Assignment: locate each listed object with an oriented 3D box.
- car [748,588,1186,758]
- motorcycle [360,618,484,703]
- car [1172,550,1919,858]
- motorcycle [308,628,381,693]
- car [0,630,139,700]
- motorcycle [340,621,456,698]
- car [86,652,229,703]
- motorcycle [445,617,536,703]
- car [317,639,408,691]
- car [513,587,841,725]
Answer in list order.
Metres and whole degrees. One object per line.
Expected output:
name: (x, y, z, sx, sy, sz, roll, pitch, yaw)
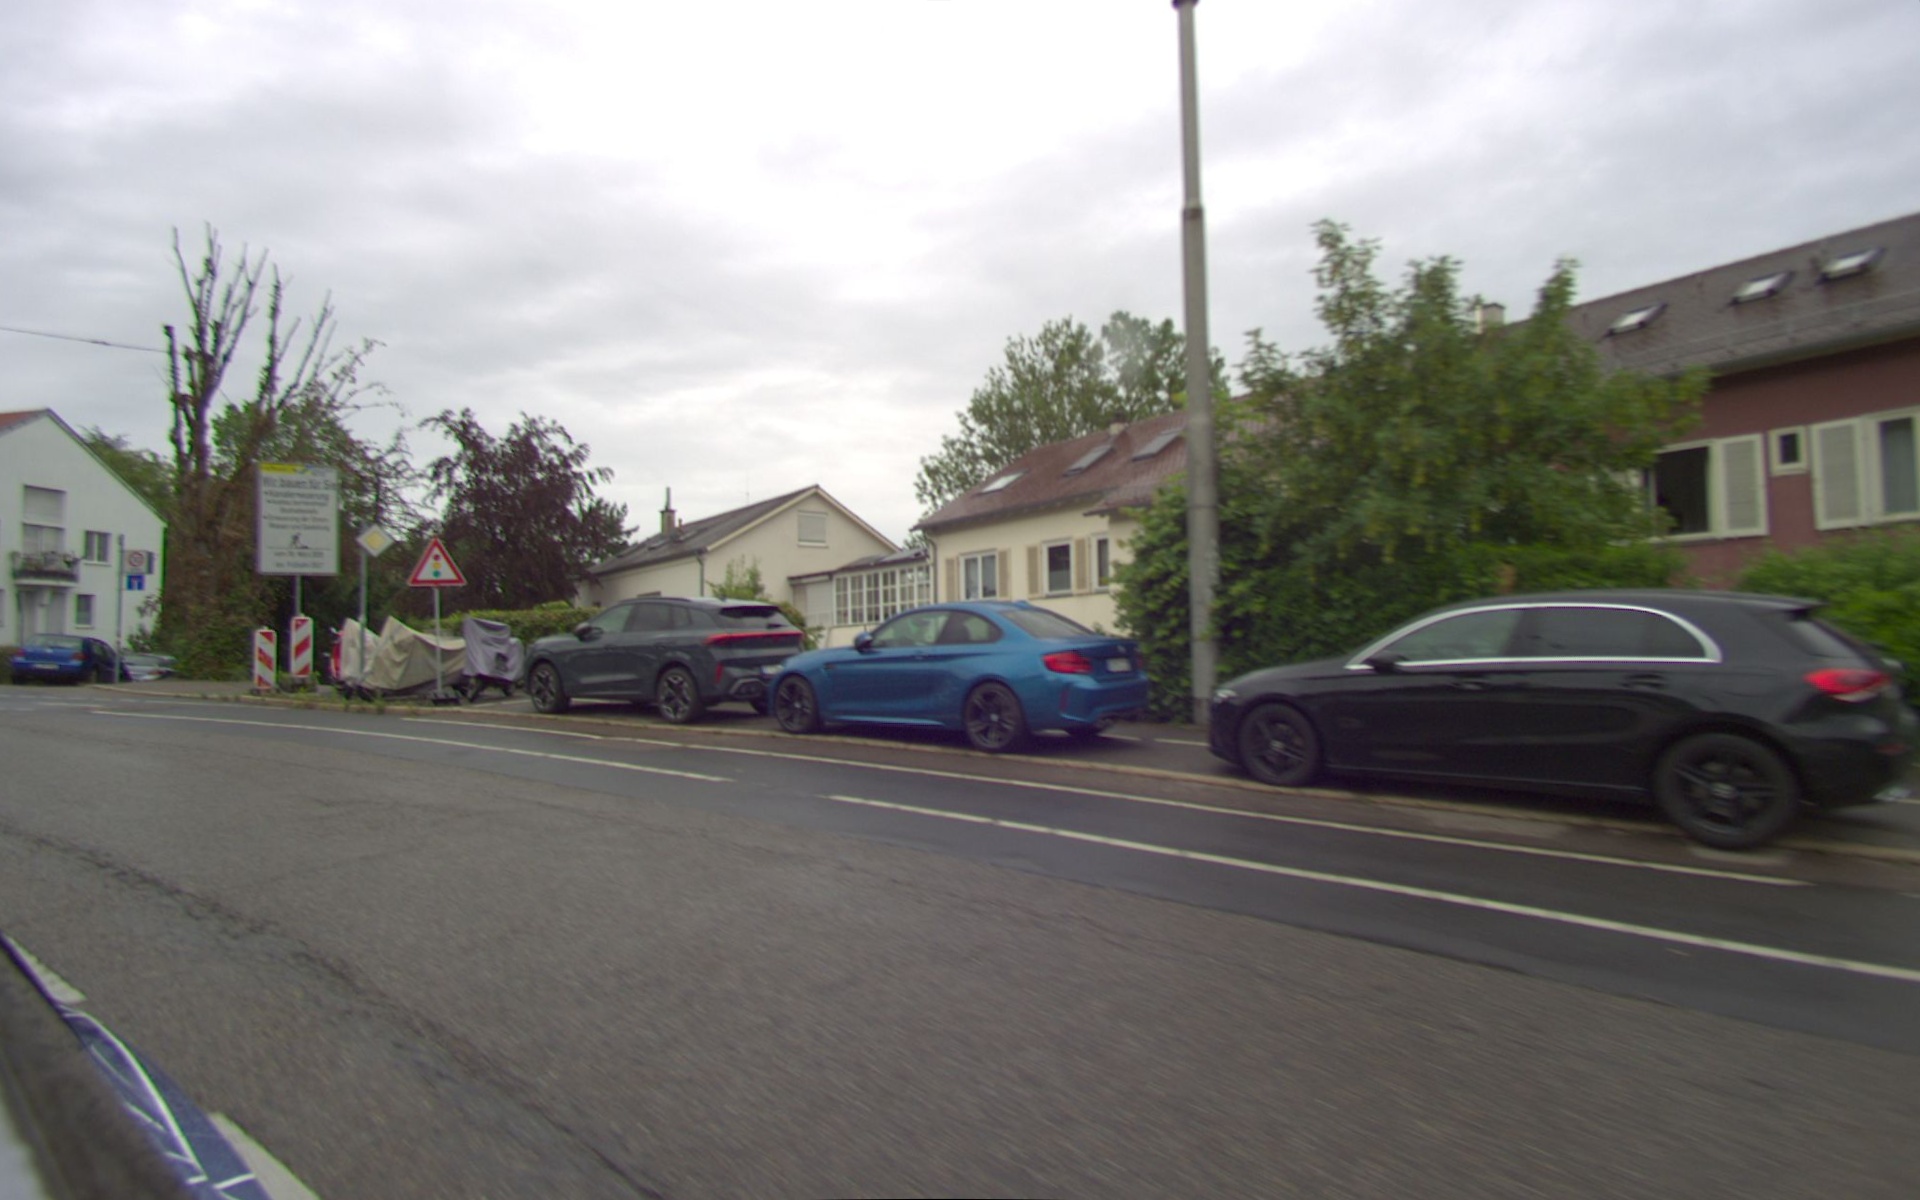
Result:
car: (-0.084, 0.667, 10.575, 4.466, 1.415, 1.683, -2, -1, 38)
motorcycle: (-8.973, 0.976, 16.898, 1.776, 1.313, 0.615, -1, 0, -30)
car: (3.891, 0.530, 7.063, 1.786, 1.488, 4.527, -1, -1, -42)
motorcycle: (-11.396, 1.117, 18.717, 1.920, 1.148, 0.504, -2, -5, 39)
car: (-24.342, 1.730, 27.806, 1.810, 1.678, 3.955, 4, -2, -26)
motorcycle: (-9.914, 1.020, 17.906, 0.509, 1.289, 1.788, -2, -1, 31)
car: (-26.334, 2.524, 33.409, 1.813, 1.505, 4.088, 2, -3, -8)
motorcycle: (-7.595, 0.934, 16.458, 0.567, 1.281, 1.906, -1, 0, 0)
car: (-16.837, 1.804, 28.463, 1.530, 1.337, 3.568, 5, -5, -41)
car: (-3.911, 0.684, 13.740, 4.375, 1.589, 1.906, -1, 0, 34)
